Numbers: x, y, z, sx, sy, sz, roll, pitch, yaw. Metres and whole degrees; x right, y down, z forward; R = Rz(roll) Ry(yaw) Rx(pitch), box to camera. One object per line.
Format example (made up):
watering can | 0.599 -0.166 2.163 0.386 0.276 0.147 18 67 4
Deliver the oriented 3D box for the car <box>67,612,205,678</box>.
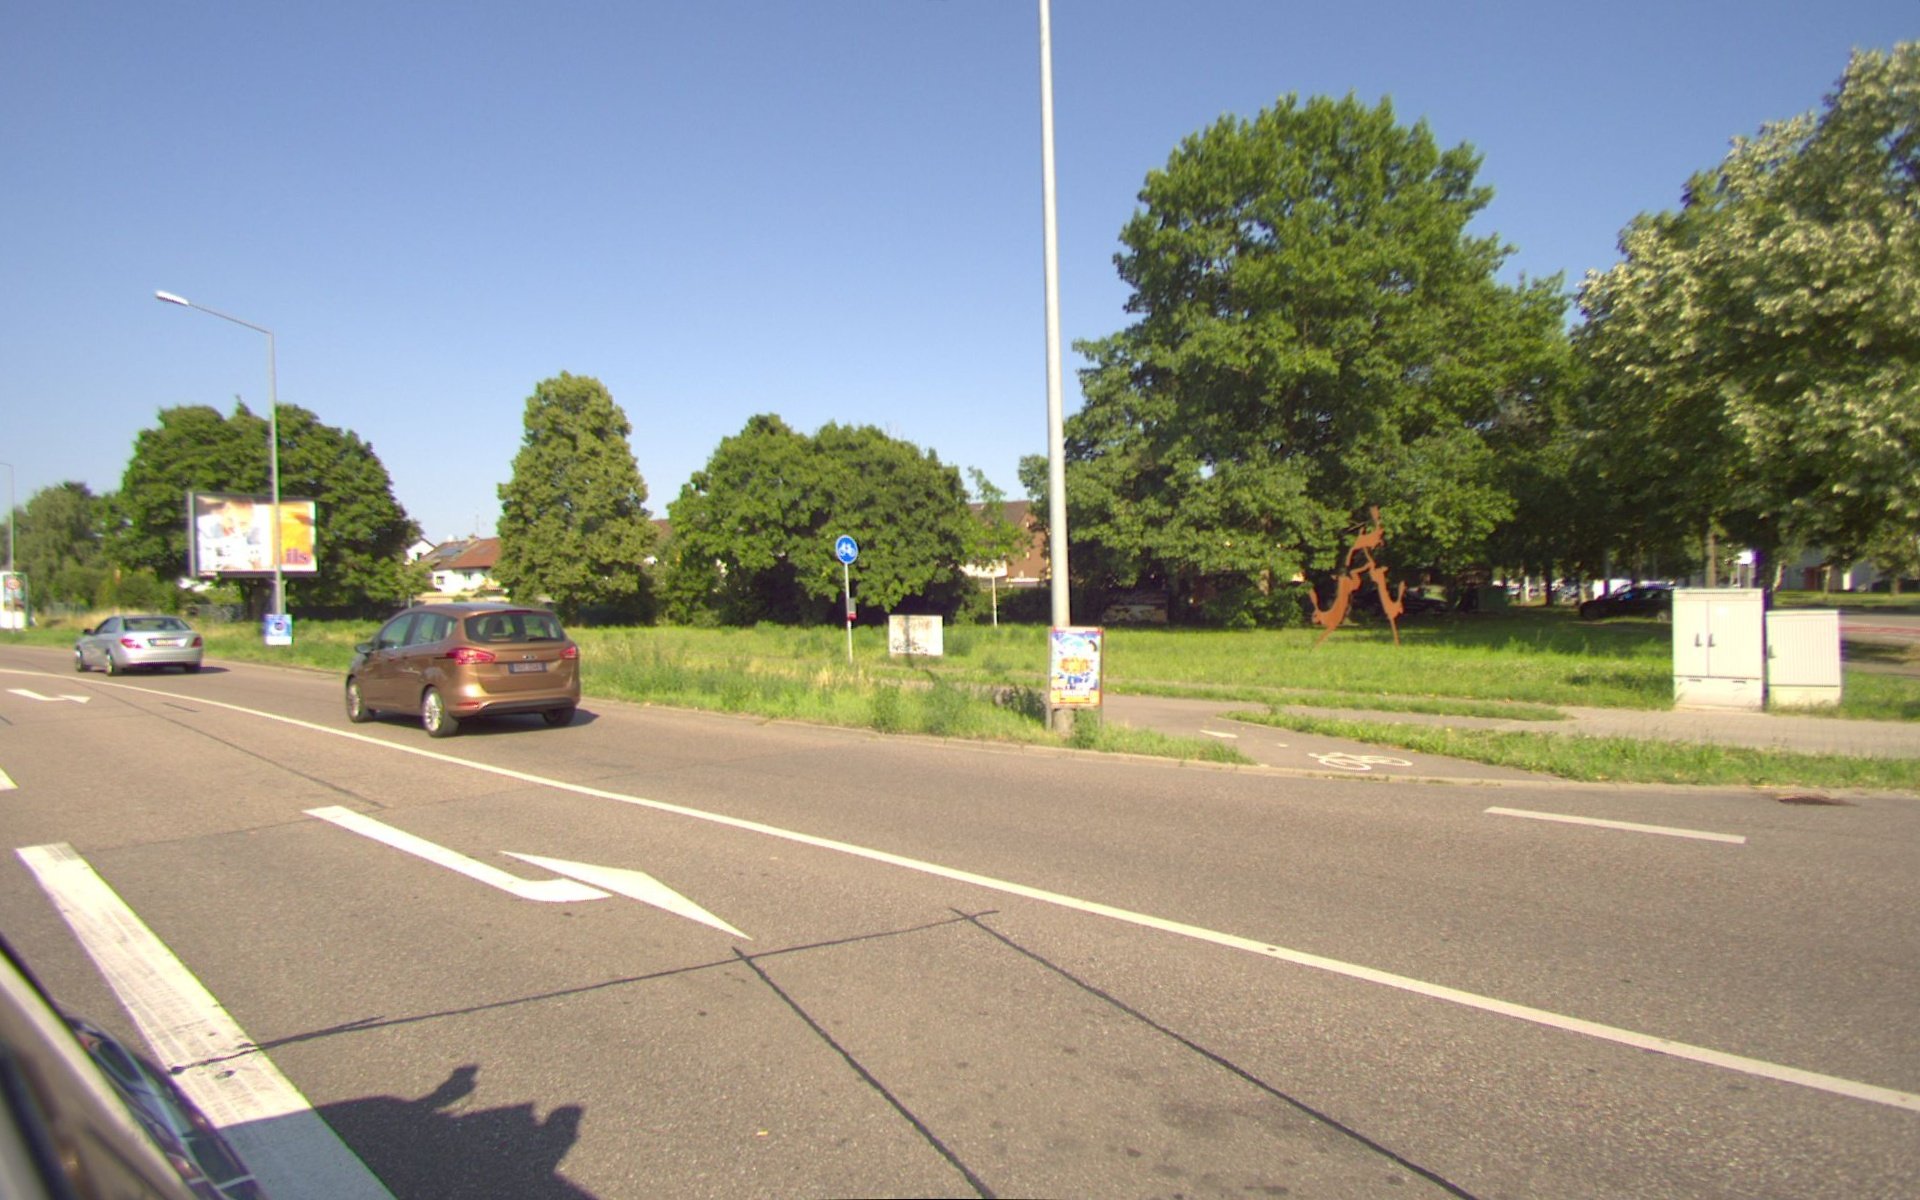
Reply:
car | -20.225 1.044 24.783 4.363 1.476 1.686 -1 -1 38

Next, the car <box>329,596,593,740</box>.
car | -6.541 0.775 13.081 3.999 1.574 1.726 -1 -1 42

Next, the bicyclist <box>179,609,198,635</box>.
bicyclist | -43.788 1.260 57.449 1.071 1.439 0.630 -1 0 41

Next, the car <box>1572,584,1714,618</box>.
car | 28.543 0.044 42.489 1.499 1.330 4.785 -1 0 -27

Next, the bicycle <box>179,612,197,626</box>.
bicycle | -43.912 1.059 57.544 1.833 0.759 0.449 -1 0 41
